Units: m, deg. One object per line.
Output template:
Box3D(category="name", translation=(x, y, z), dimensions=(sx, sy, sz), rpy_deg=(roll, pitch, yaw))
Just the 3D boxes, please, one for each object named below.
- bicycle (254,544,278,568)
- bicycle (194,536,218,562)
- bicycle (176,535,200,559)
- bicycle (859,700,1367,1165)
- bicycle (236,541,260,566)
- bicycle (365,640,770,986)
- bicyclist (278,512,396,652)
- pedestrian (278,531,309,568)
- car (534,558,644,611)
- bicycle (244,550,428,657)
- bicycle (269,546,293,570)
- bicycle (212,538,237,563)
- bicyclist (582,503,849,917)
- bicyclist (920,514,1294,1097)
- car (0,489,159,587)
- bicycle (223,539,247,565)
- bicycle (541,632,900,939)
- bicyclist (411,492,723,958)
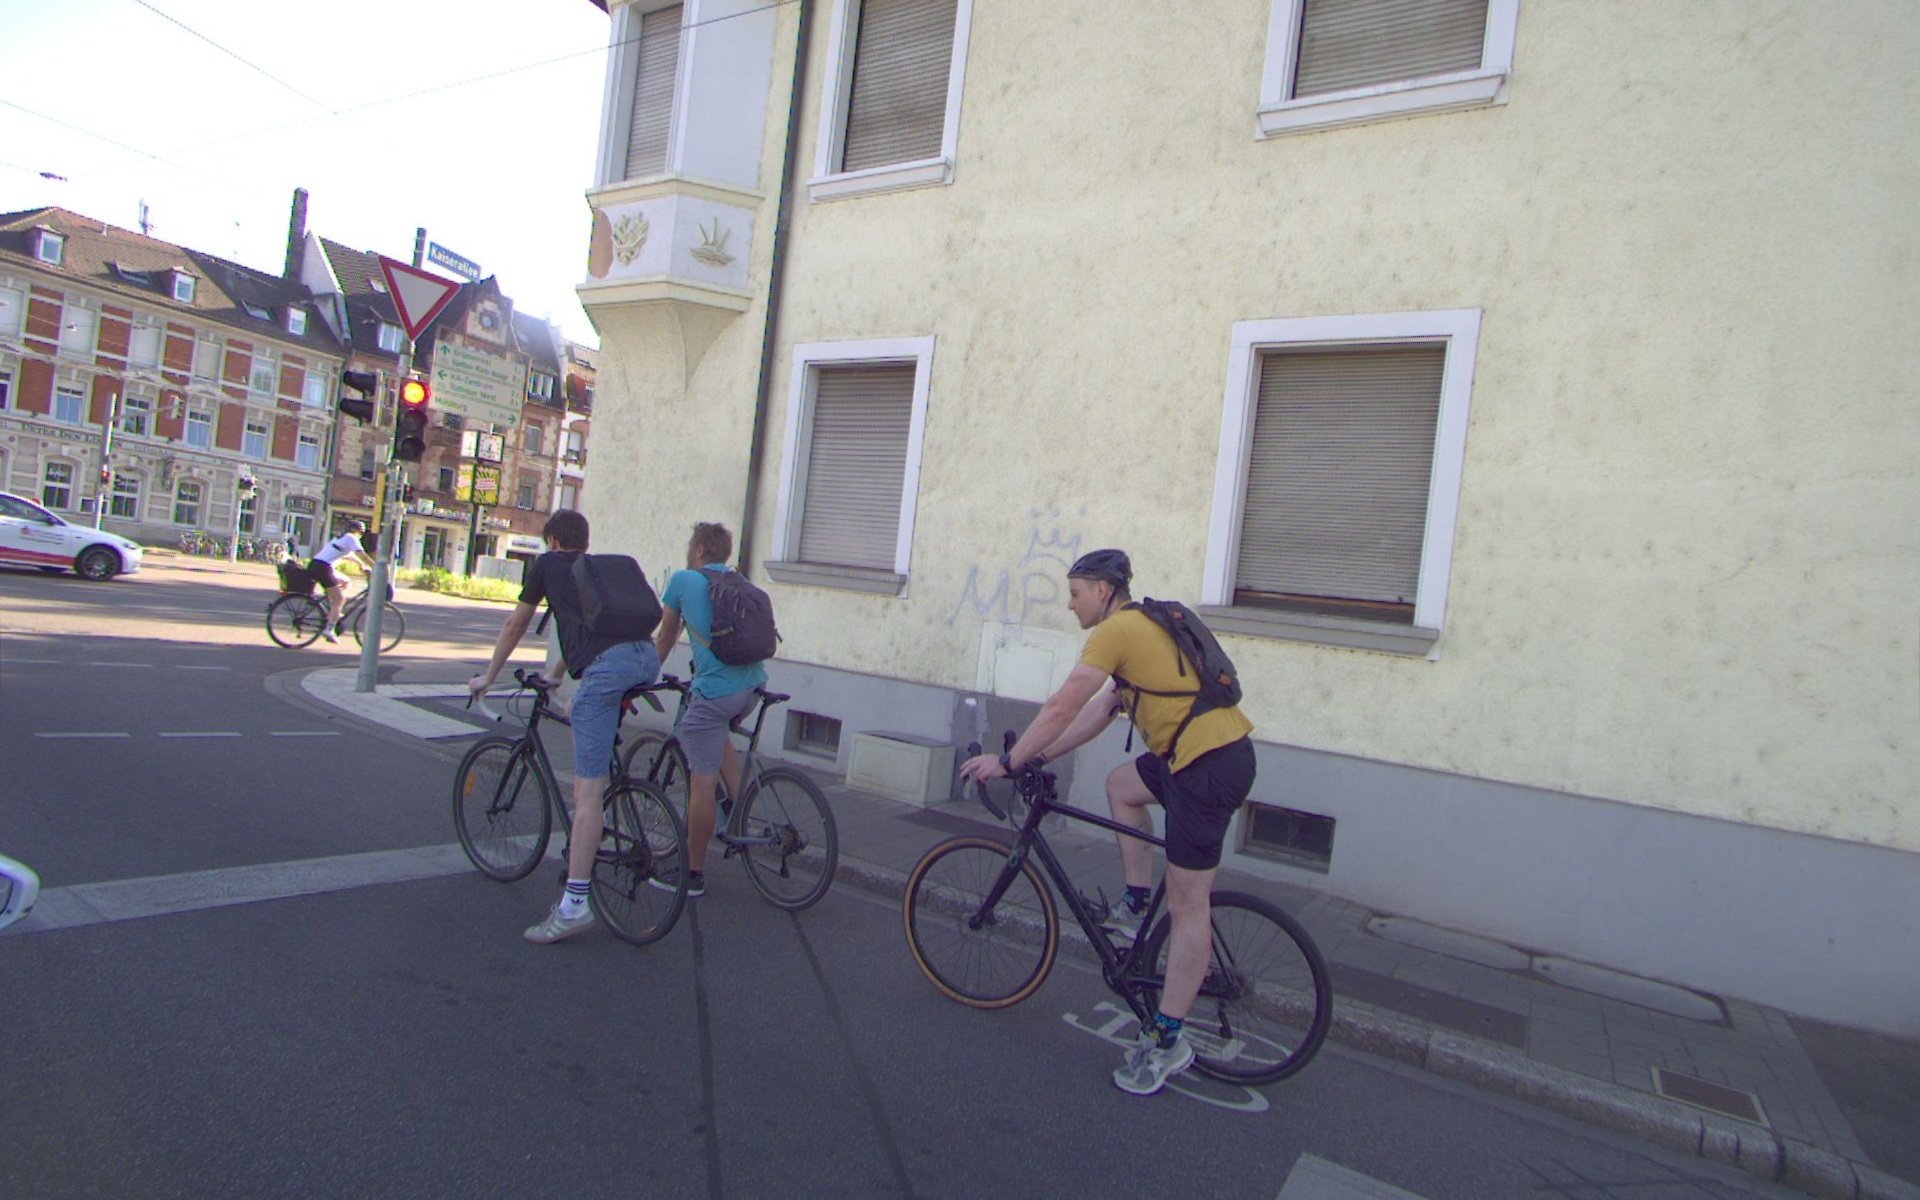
Box3D(category="bicycle", translation=(-33.300, -2.117, 48.284), dimensions=(1.759, 1.033, 0.485), rpy_deg=(7, 0, 42))
Box3D(category="bicycle", translation=(-34.629, -2.343, 46.194), dimensions=(1.759, 1.033, 0.485), rpy_deg=(7, 0, 42))
Box3D(category="bicycle", translation=(-35.054, -2.416, 45.658), dimensions=(1.759, 0.925, 0.485), rpy_deg=(7, 0, 42))
Box3D(category="bicycle", translation=(0.522, 1.087, 3.764), dimensions=(1.670, 1.180, 0.571), rpy_deg=(7, 0, 32))
Box3D(category="bicycle", translation=(-33.663, -2.194, 47.556), dimensions=(1.759, 1.033, 0.485), rpy_deg=(7, 0, 42))
Box3D(category="bicycle", translation=(-1.790, 0.832, 4.459), dimensions=(1.858, 1.071, 0.571), rpy_deg=(7, 0, 32))
Box3D(category="bicyclist", translation=(-8.340, -0.226, 13.490), dimensions=(0.720, 1.733, 0.941), rpy_deg=(7, 0, 25))
Box3D(category="pedestrian", translation=(-34.764, -2.642, 52.491), dimensions=(0.620, 1.731, 1.035), rpy_deg=(6, -1, 40))
Box3D(category="car", translation=(-18.895, -0.748, 51.520), dimensions=(1.967, 2.037, 4.988), rpy_deg=(7, -1, 31))
Box3D(category="bicycle", translation=(-8.341, 0.082, 13.559), dimensions=(0.729, 1.237, 1.928), rpy_deg=(7, -1, 24))
Box3D(category="bicycle", translation=(-33.080, -2.060, 48.971), dimensions=(1.759, 1.033, 0.485), rpy_deg=(7, 0, 42))
Box3D(category="bicycle", translation=(-34.178, -2.294, 46.740), dimensions=(1.759, 1.033, 0.485), rpy_deg=(7, 0, 42))
Box3D(category="bicyclist", translation=(-1.277, 0.521, 5.262), dimensions=(0.978, 1.910, 0.652), rpy_deg=(7, 0, 32))
Box3D(category="bicyclist", translation=(0.555, 0.667, 3.789), dimensions=(1.019, 1.839, 0.652), rpy_deg=(7, 0, 32))
Box3D(category="car", translation=(-17.340, -1.258, 17.720), dimensions=(1.710, 1.490, 4.685), rpy_deg=(7, -1, 25))
Box3D(category="bicycle", translation=(-33.991, -2.253, 47.164), dimensions=(1.759, 1.033, 0.485), rpy_deg=(7, 0, 42))
Box3D(category="bicycle", translation=(-1.300, 0.874, 5.272), dimensions=(1.858, 1.180, 0.571), rpy_deg=(7, 0, 32))
Box3D(category="bicyclist", translation=(-1.741, 0.489, 4.461), dimensions=(0.978, 1.788, 0.652), rpy_deg=(7, 0, 32))
